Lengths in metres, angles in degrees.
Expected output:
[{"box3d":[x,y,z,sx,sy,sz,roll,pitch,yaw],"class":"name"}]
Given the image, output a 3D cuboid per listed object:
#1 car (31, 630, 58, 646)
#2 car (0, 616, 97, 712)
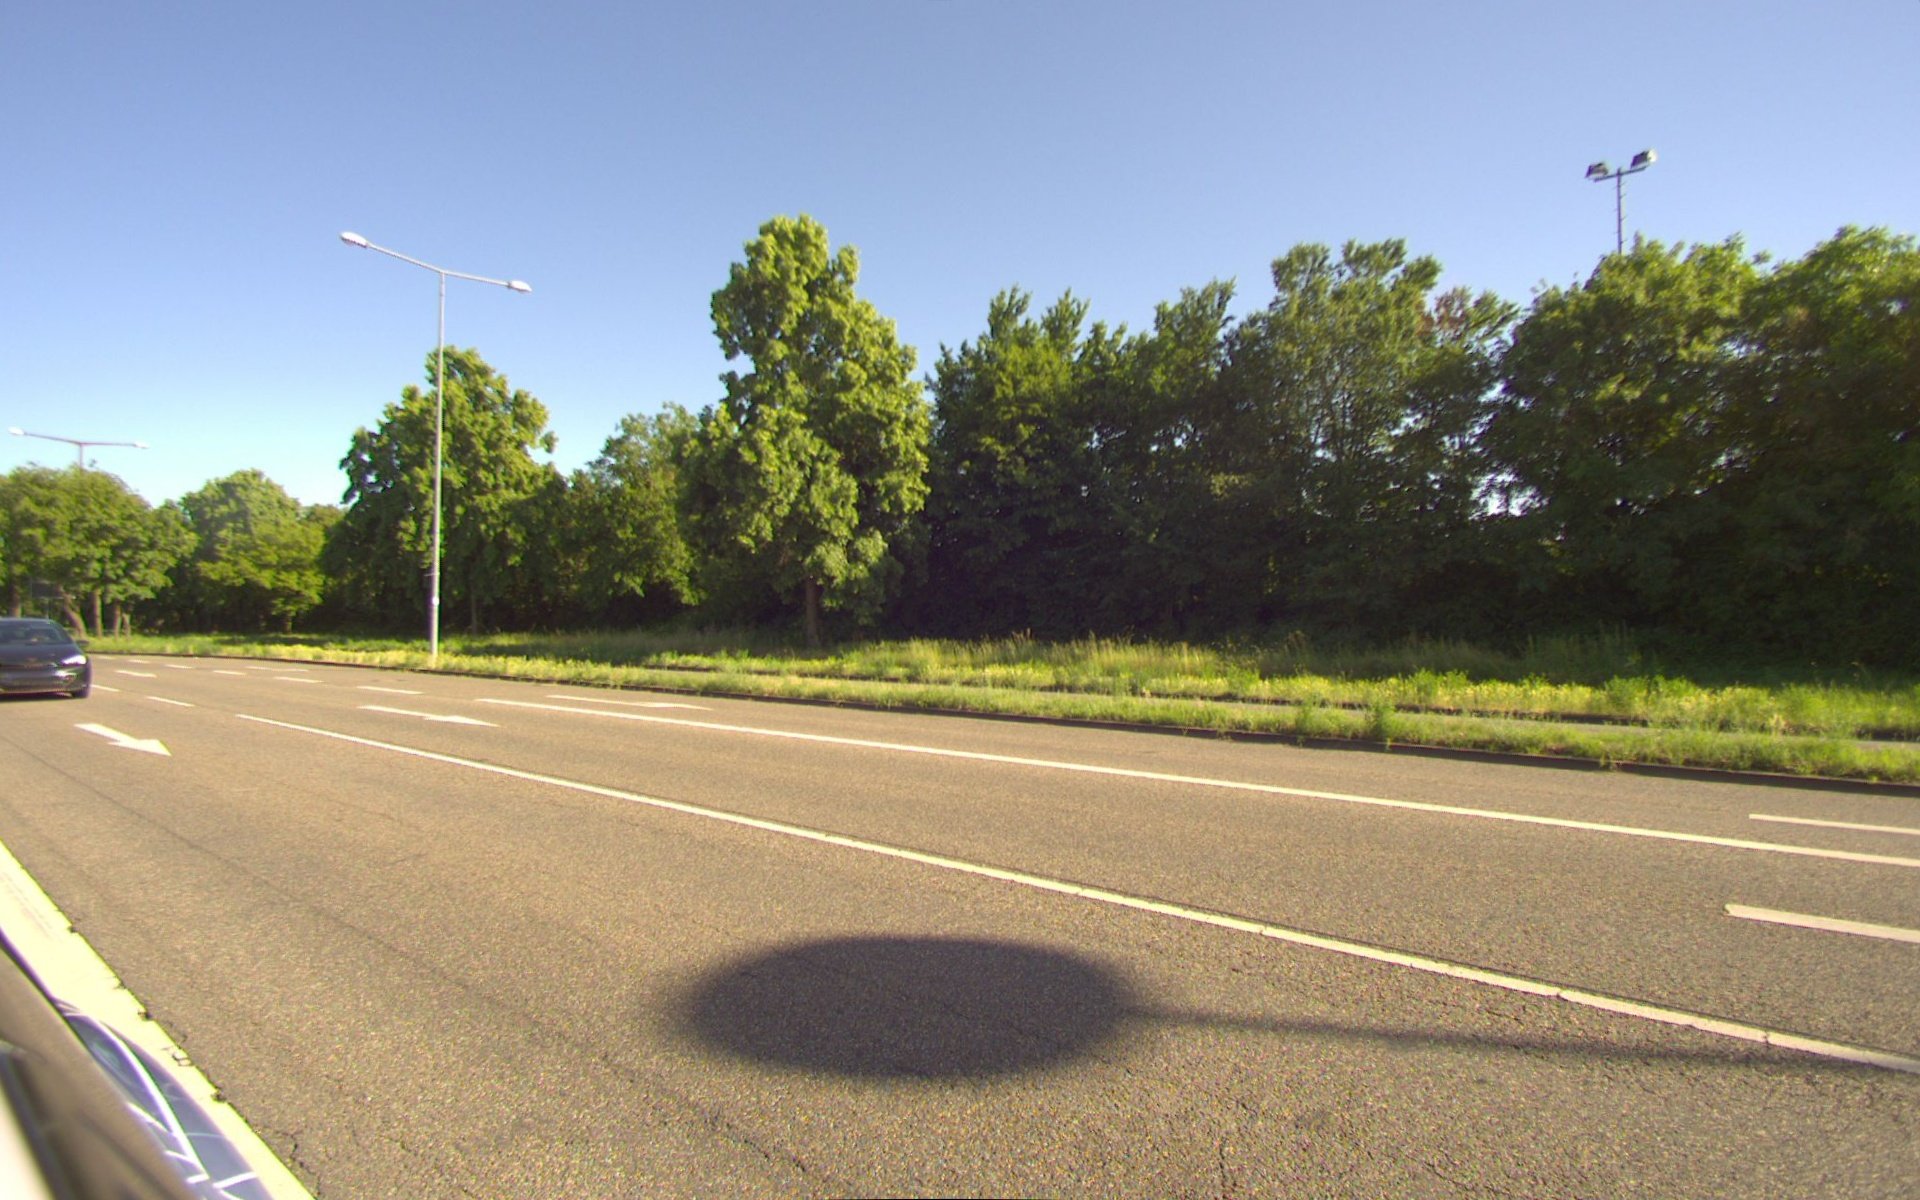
[{"box3d":[-107.125,4.437,118.388,4.406,1.716,1.892,0,0,42],"class":"car"},{"box3d":[-17.776,1.130,19.052,4.295,1.628,1.743,-1,-1,41],"class":"car"}]
